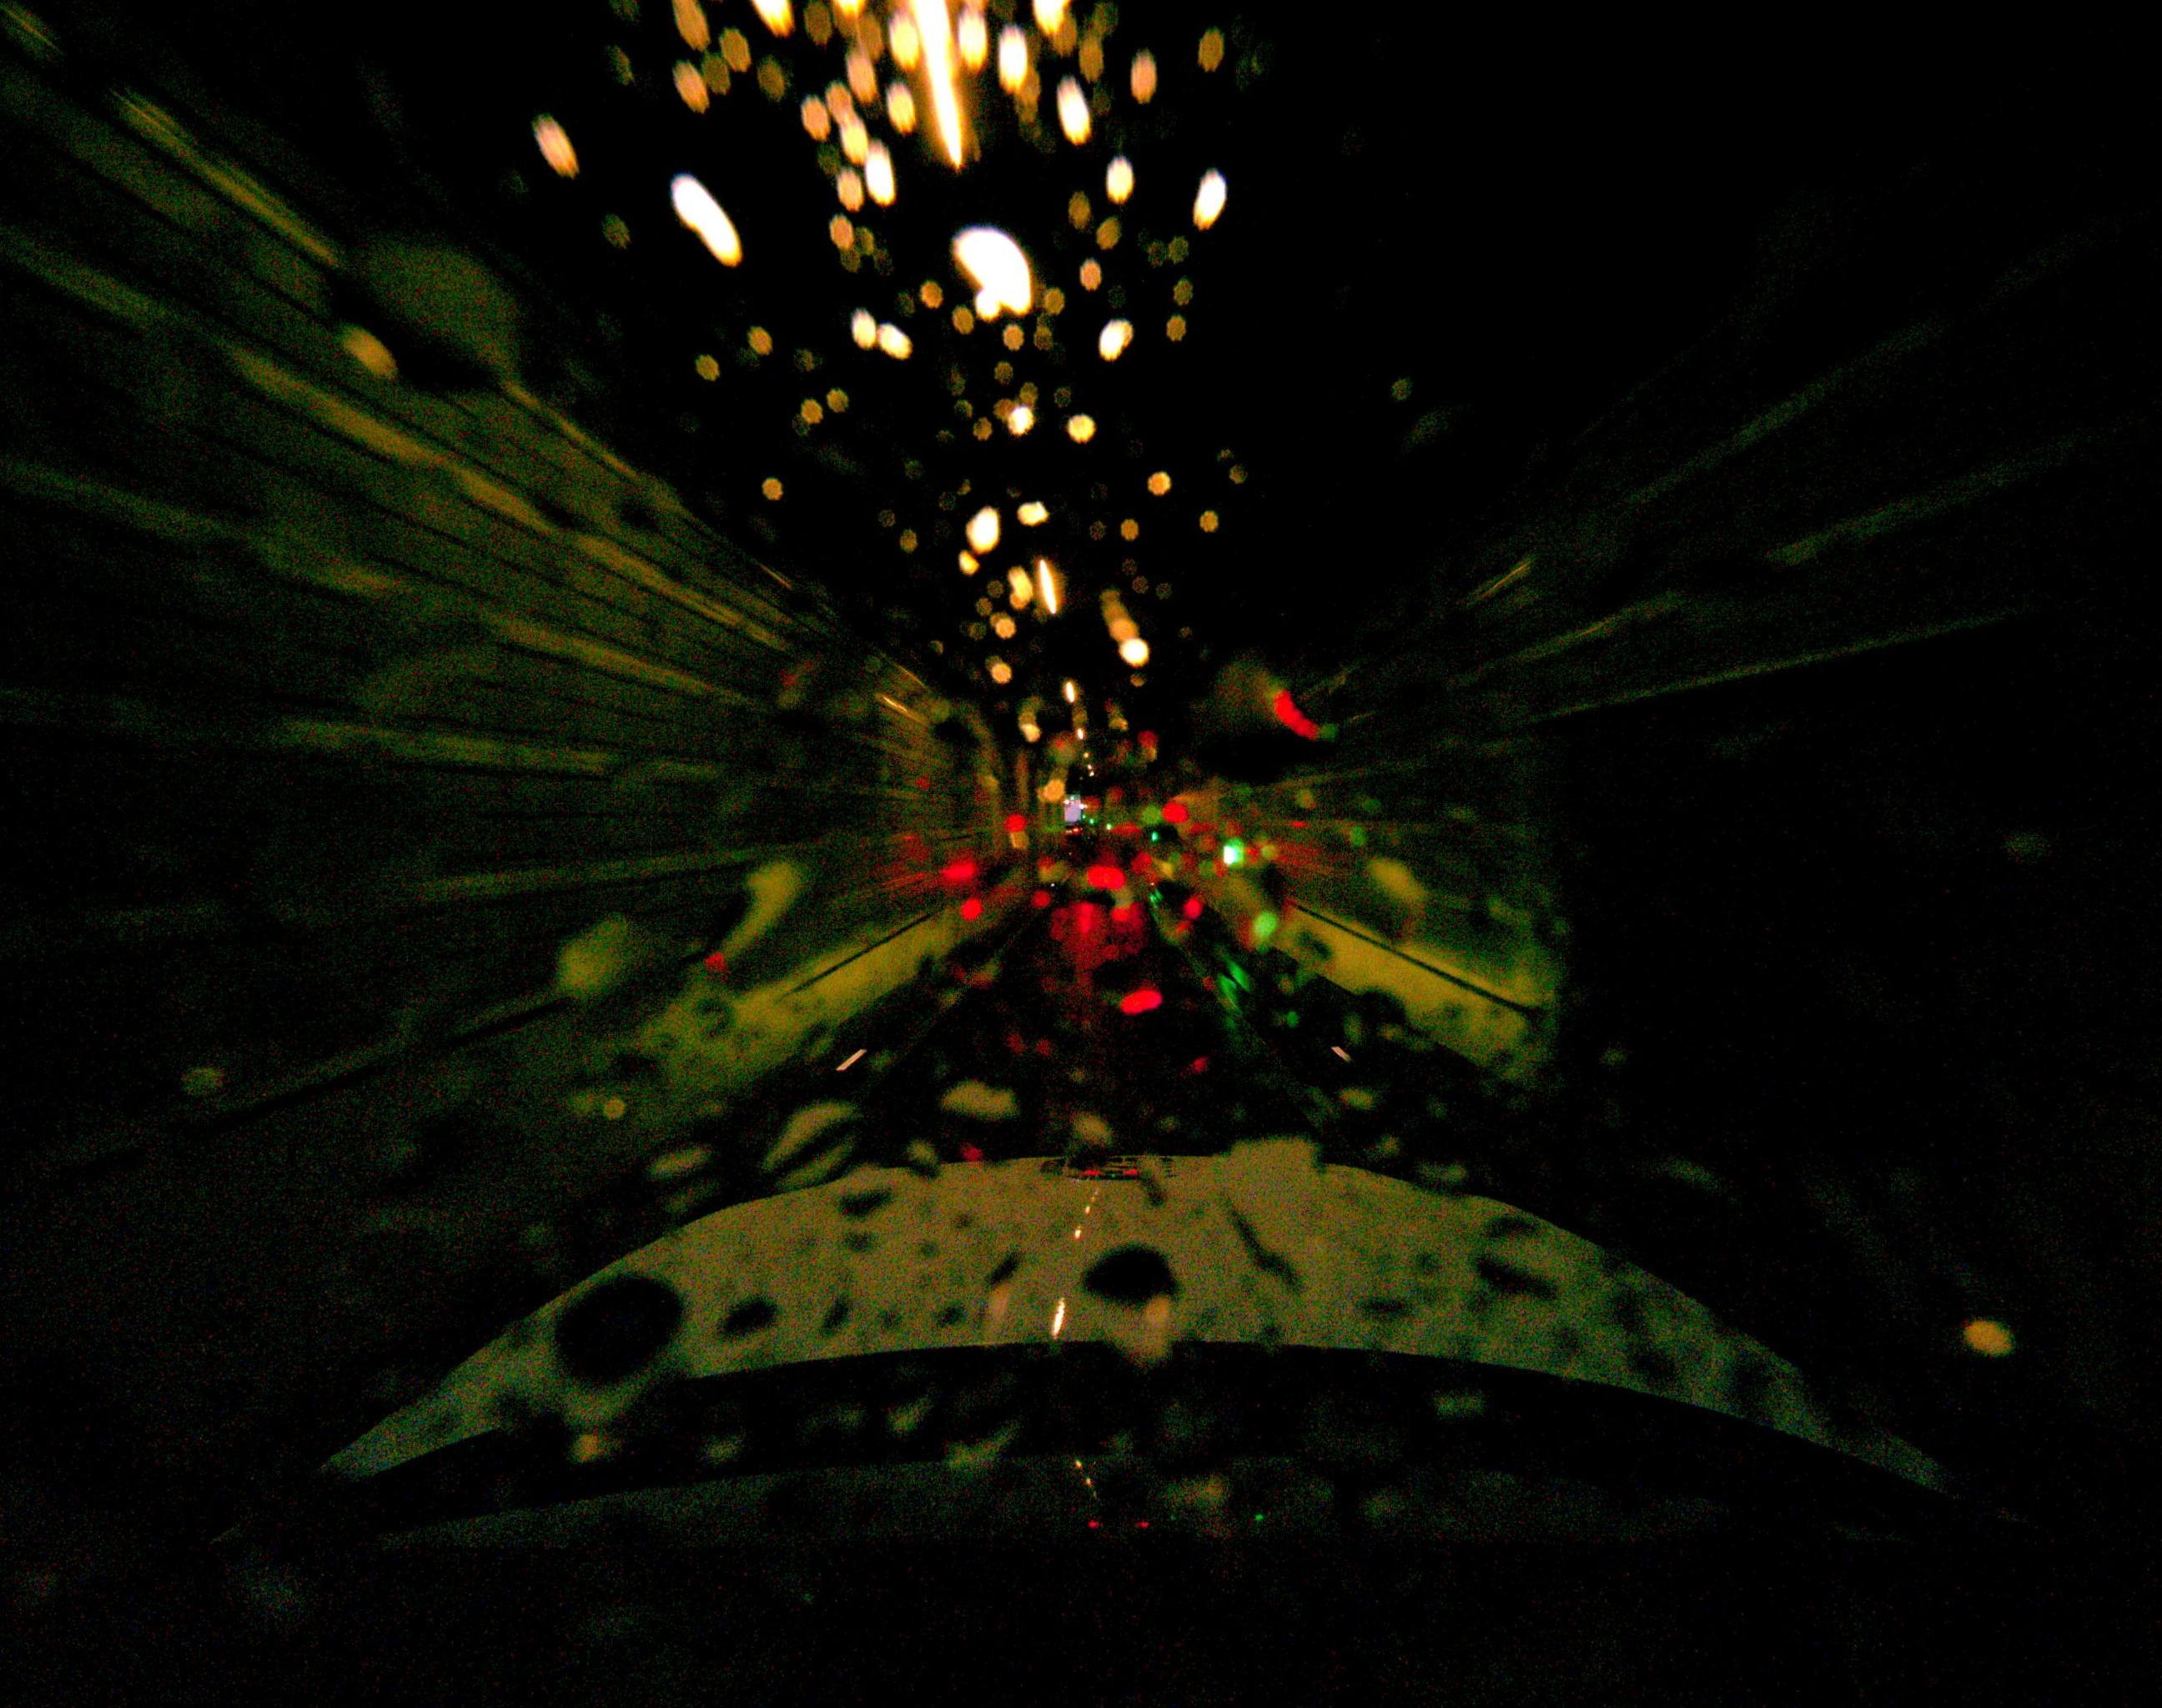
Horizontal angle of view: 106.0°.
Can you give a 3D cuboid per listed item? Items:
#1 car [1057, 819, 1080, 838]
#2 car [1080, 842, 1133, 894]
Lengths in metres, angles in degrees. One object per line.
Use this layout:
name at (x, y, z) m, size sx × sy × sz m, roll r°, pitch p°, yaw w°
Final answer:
car at (-1.170, -2.338, 74.899) m, size 1.877 × 1.620 × 3.995 m, roll -1°, pitch 2°, yaw -4°
car at (0.802, 0.386, 25.724) m, size 1.526 × 1.397 × 3.436 m, roll -1°, pitch 3°, yaw 1°
